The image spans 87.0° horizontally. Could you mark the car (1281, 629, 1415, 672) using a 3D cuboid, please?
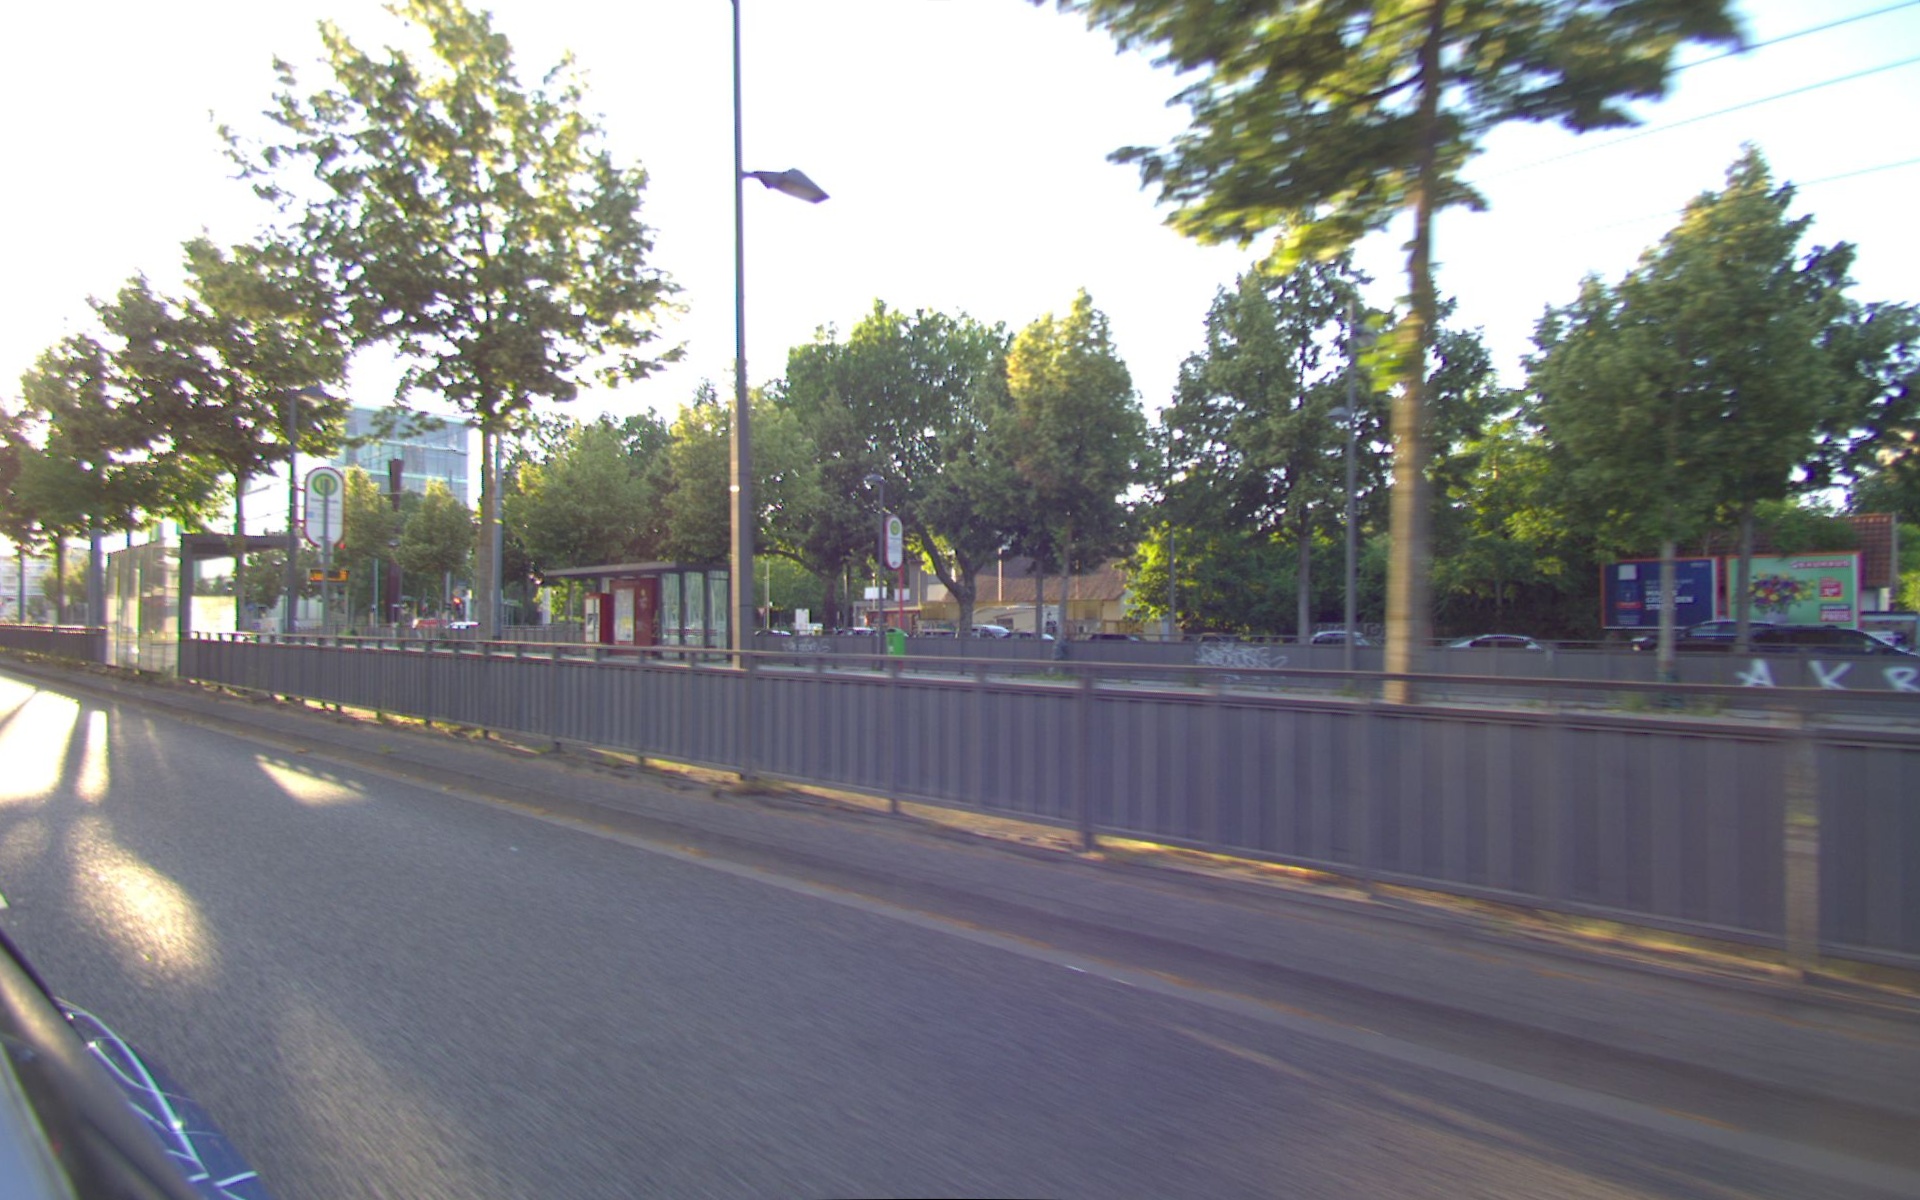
[{"bbox_3d":[13.683,1.762,35.827,4.001,1.418,1.971,-2,-2,44],"label":"car"}]

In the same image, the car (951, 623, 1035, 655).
[{"bbox_3d":[1.642,1.976,51.305,1.970,1.542,4.003,1,-2,-44],"label":"car"}]

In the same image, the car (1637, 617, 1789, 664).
[{"bbox_3d":[26.387,1.395,35.524,1.970,1.564,4.003,2,-2,-44],"label":"car"}]

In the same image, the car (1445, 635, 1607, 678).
[{"bbox_3d":[17.644,1.721,31.656,4.089,1.210,1.972,-2,-2,43],"label":"car"}]

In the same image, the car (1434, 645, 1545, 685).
[{"bbox_3d":[21.215,2.569,40.629,3.658,1.459,1.701,-2,-2,42],"label":"car"}]

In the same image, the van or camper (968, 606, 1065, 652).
[{"bbox_3d":[3.262,1.708,59.277,2.363,2.583,5.638,2,-2,-43],"label":"van or camper"}]

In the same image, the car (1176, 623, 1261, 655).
[{"bbox_3d":[12.616,1.878,49.500,3.644,1.512,1.804,-2,-2,43],"label":"car"}]

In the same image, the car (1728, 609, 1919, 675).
[{"bbox_3d":[22.734,1.066,26.235,4.297,1.598,1.972,-2,-2,43],"label":"car"}]

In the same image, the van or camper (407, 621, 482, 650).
[{"bbox_3d":[-39.975,2.712,78.552,4.815,2.029,2.002,-1,-1,-43],"label":"van or camper"}]
